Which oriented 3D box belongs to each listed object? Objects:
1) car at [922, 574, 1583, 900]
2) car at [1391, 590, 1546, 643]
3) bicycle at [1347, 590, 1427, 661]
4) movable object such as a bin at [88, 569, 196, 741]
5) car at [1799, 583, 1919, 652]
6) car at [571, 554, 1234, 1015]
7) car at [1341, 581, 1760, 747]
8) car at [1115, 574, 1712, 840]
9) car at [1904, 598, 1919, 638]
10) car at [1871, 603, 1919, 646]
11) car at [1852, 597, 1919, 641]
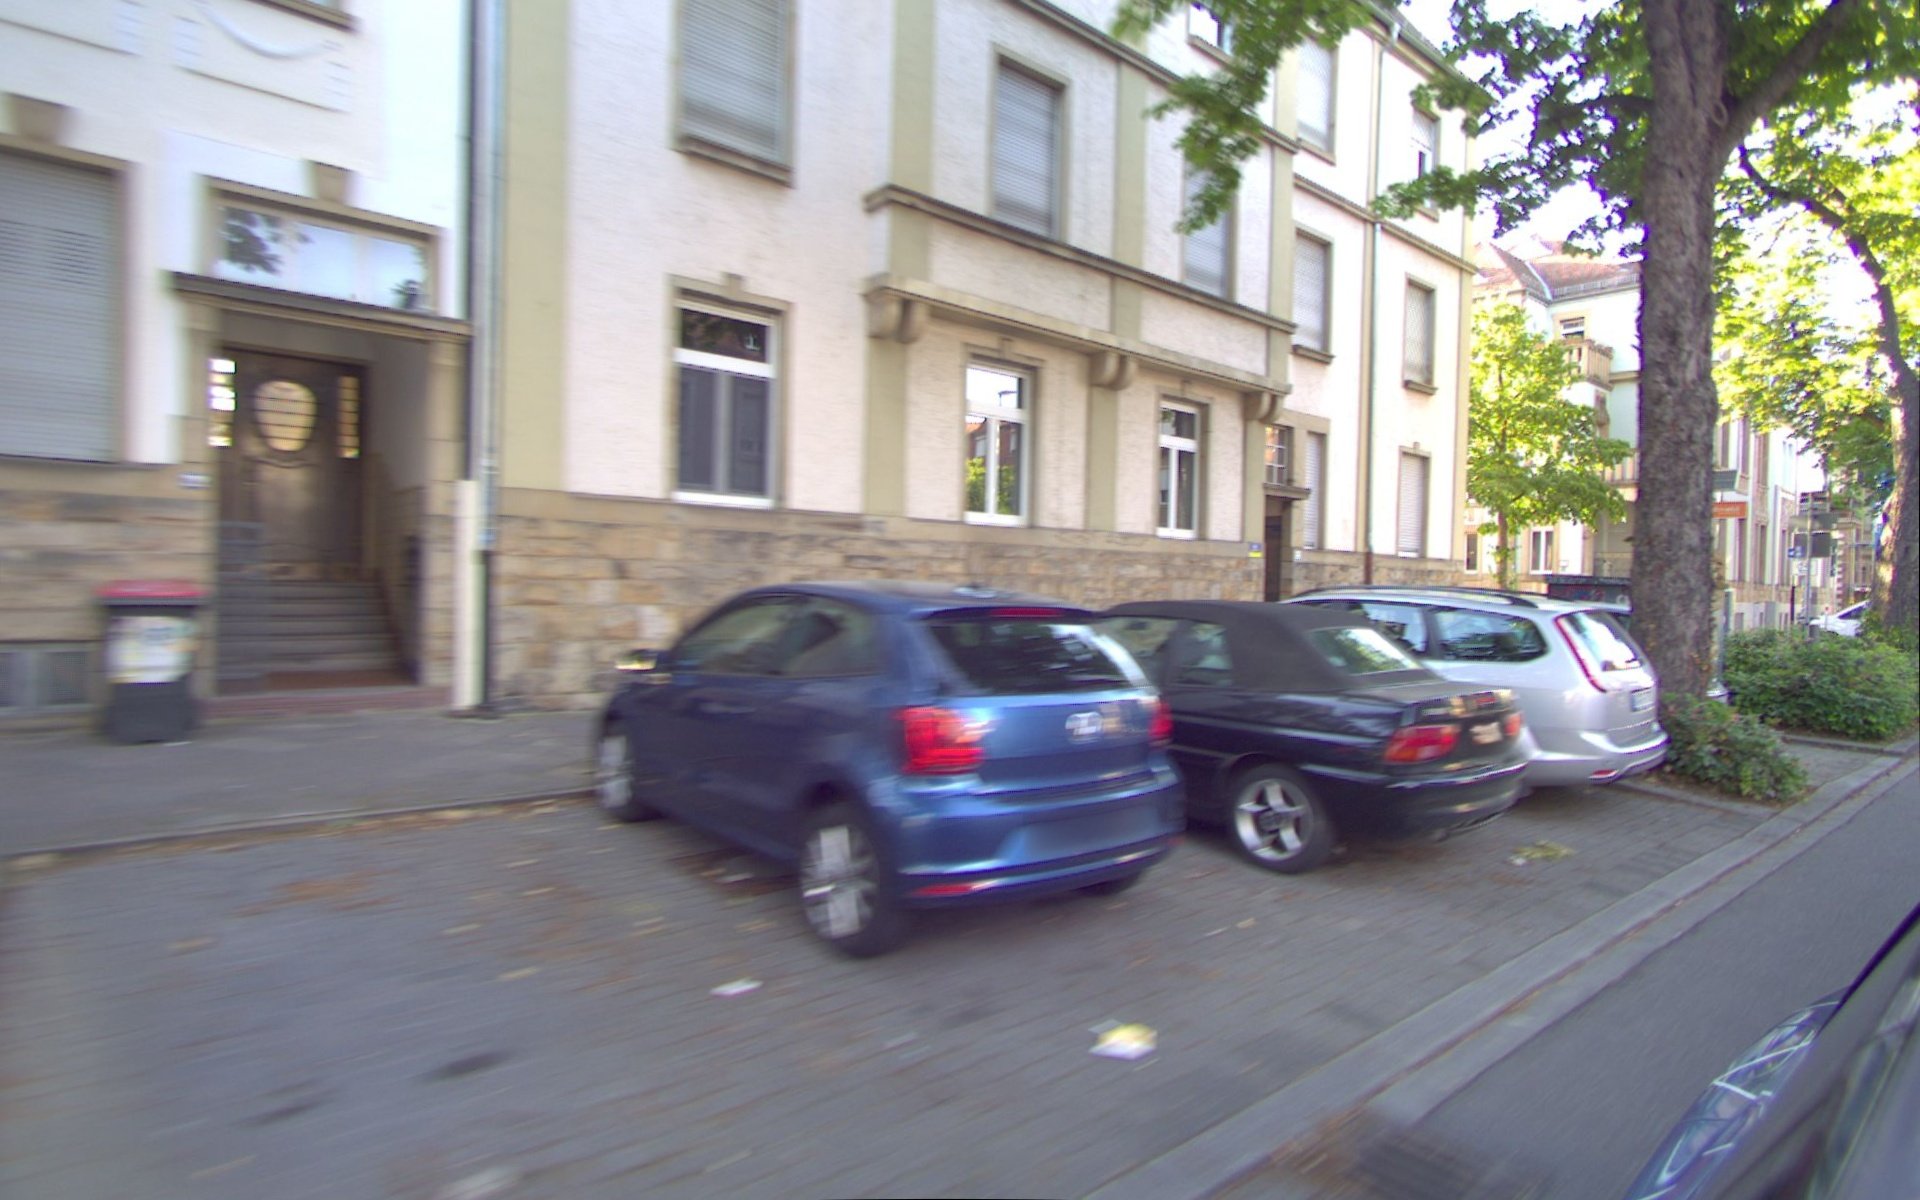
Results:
[{"bbox_3d":[1.622,0.582,6.610,1.785,1.456,3.801,0,1,-40],"label":"car"},{"bbox_3d":[16.385,0.518,32.751,1.626,1.494,4.165,3,0,-40],"label":"car"},{"bbox_3d":[7.780,0.450,18.403,1.924,1.227,0.585,1,0,-43],"label":"bicycle"},{"bbox_3d":[-5.584,0.346,6.909,0.532,1.062,0.702,1,4,-41],"label":"movable object such as a bin"},{"bbox_3d":[27.251,0.519,29.235,1.964,1.829,4.325,1,2,-40],"label":"car"},{"bbox_3d":[-0.633,0.555,5.268,1.532,1.502,3.803,0,1,-38],"label":"car"},{"bbox_3d":[6.600,0.582,11.594,1.720,1.455,3.797,0,2,-44],"label":"car"},{"bbox_3d":[3.417,0.615,8.319,1.682,1.596,4.156,0,1,-40],"label":"car"},{"bbox_3d":[39.522,0.829,39.137,1.655,1.553,4.157,1,2,-38],"label":"car"},{"bbox_3d":[35.401,0.960,36.359,1.703,1.480,3.757,1,2,-40],"label":"car"},{"bbox_3d":[36.821,0.784,38.290,1.796,1.553,4.325,1,2,-40],"label":"car"}]
